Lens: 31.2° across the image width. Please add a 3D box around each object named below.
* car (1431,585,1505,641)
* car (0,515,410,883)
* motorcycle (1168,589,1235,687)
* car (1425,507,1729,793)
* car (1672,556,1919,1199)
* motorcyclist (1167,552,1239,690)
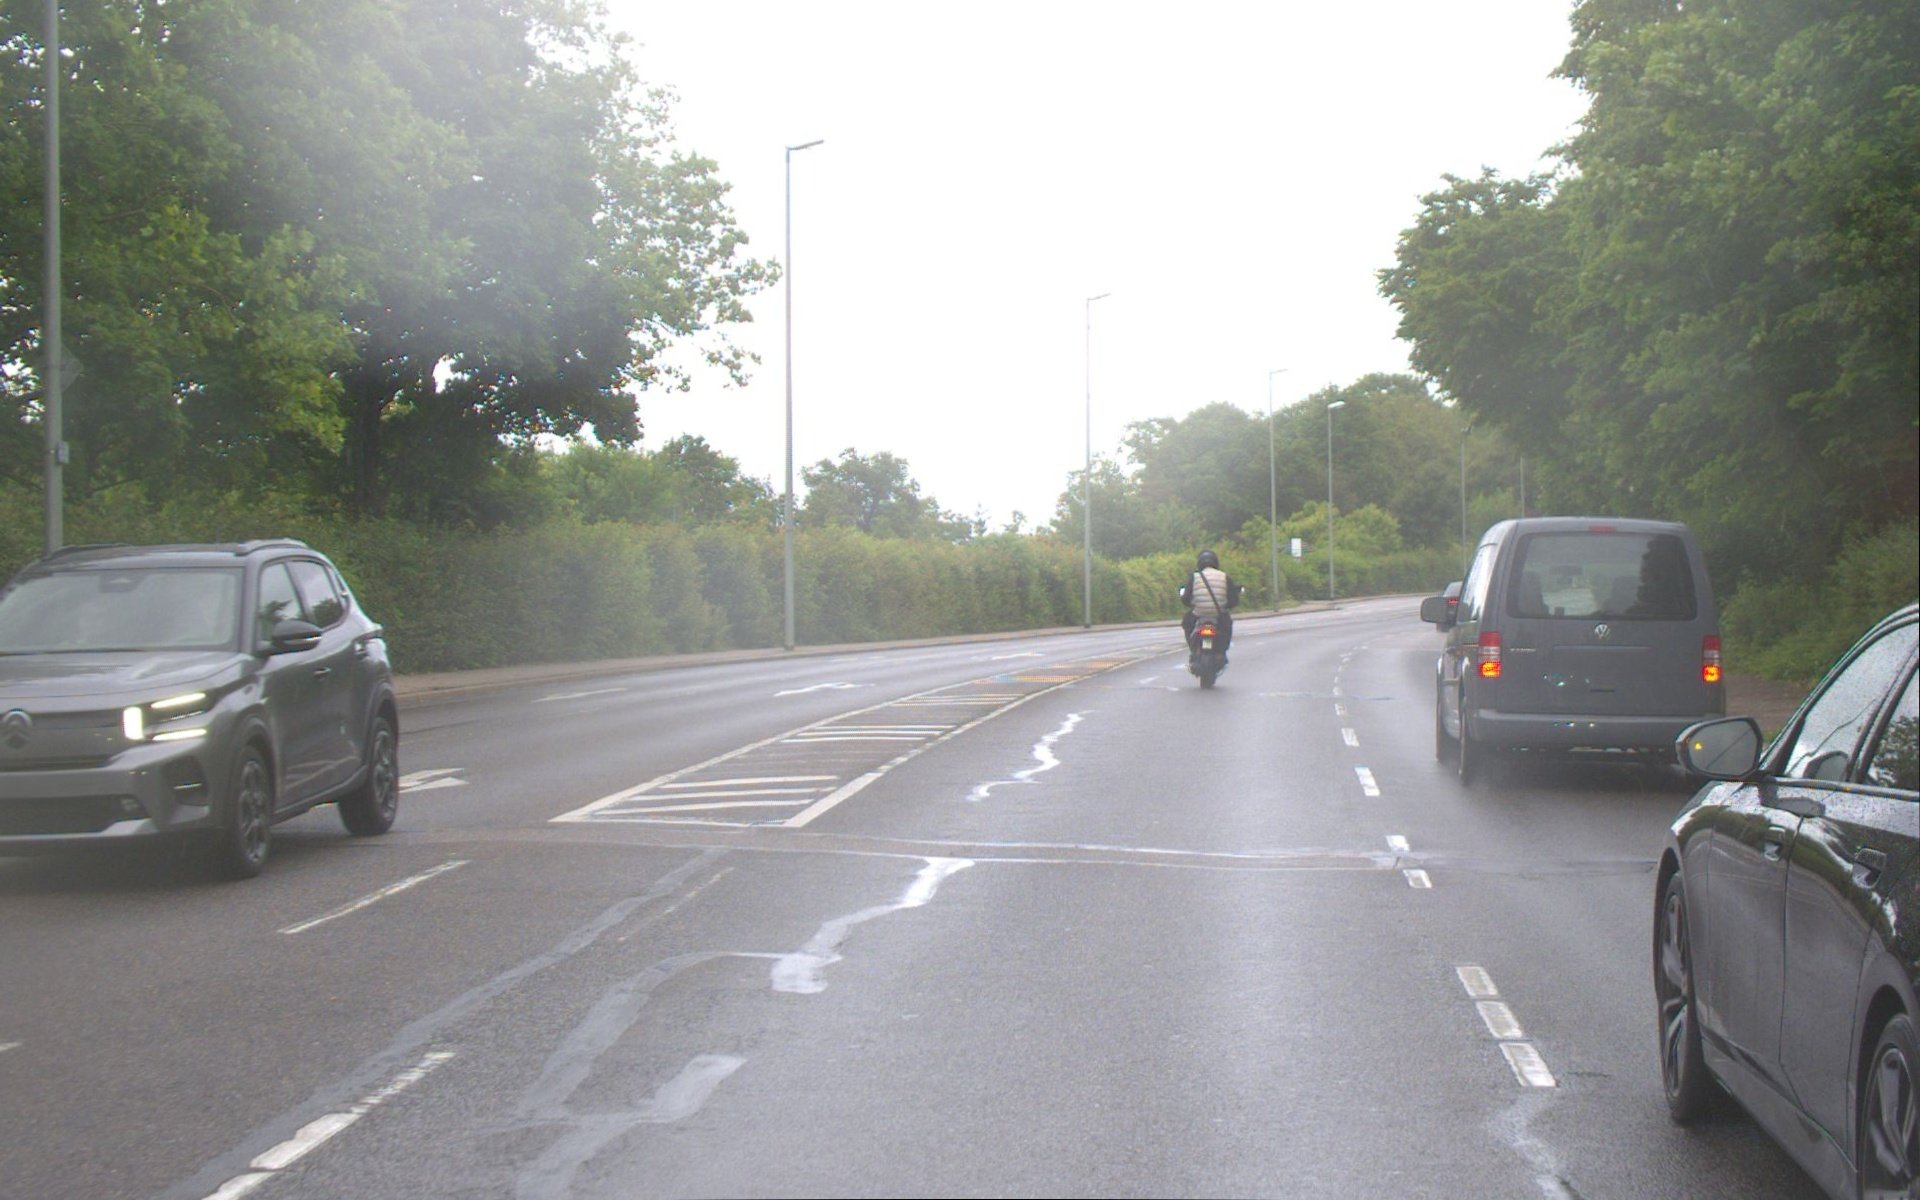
[{"bbox_3d":[14.518,0.355,98.092,2.015,1.410,4.485,1,2,9],"label":"car"},{"bbox_3d":[-4.038,0.416,16.991,1.795,1.597,3.731,-1,1,4],"label":"car"},{"bbox_3d":[2.914,0.446,41.379,0.741,1.115,1.426,1,2,6],"label":"motorcycle"},{"bbox_3d":[4.267,0.269,24.280,1.767,1.803,3.905,1,2,5],"label":"car"},{"bbox_3d":[2.569,0.690,7.036,1.765,1.531,3.672,1,1,5],"label":"car"},{"bbox_3d":[2.929,0.244,41.349,0.845,1.641,0.468,0,2,6],"label":"motorcyclist"}]
